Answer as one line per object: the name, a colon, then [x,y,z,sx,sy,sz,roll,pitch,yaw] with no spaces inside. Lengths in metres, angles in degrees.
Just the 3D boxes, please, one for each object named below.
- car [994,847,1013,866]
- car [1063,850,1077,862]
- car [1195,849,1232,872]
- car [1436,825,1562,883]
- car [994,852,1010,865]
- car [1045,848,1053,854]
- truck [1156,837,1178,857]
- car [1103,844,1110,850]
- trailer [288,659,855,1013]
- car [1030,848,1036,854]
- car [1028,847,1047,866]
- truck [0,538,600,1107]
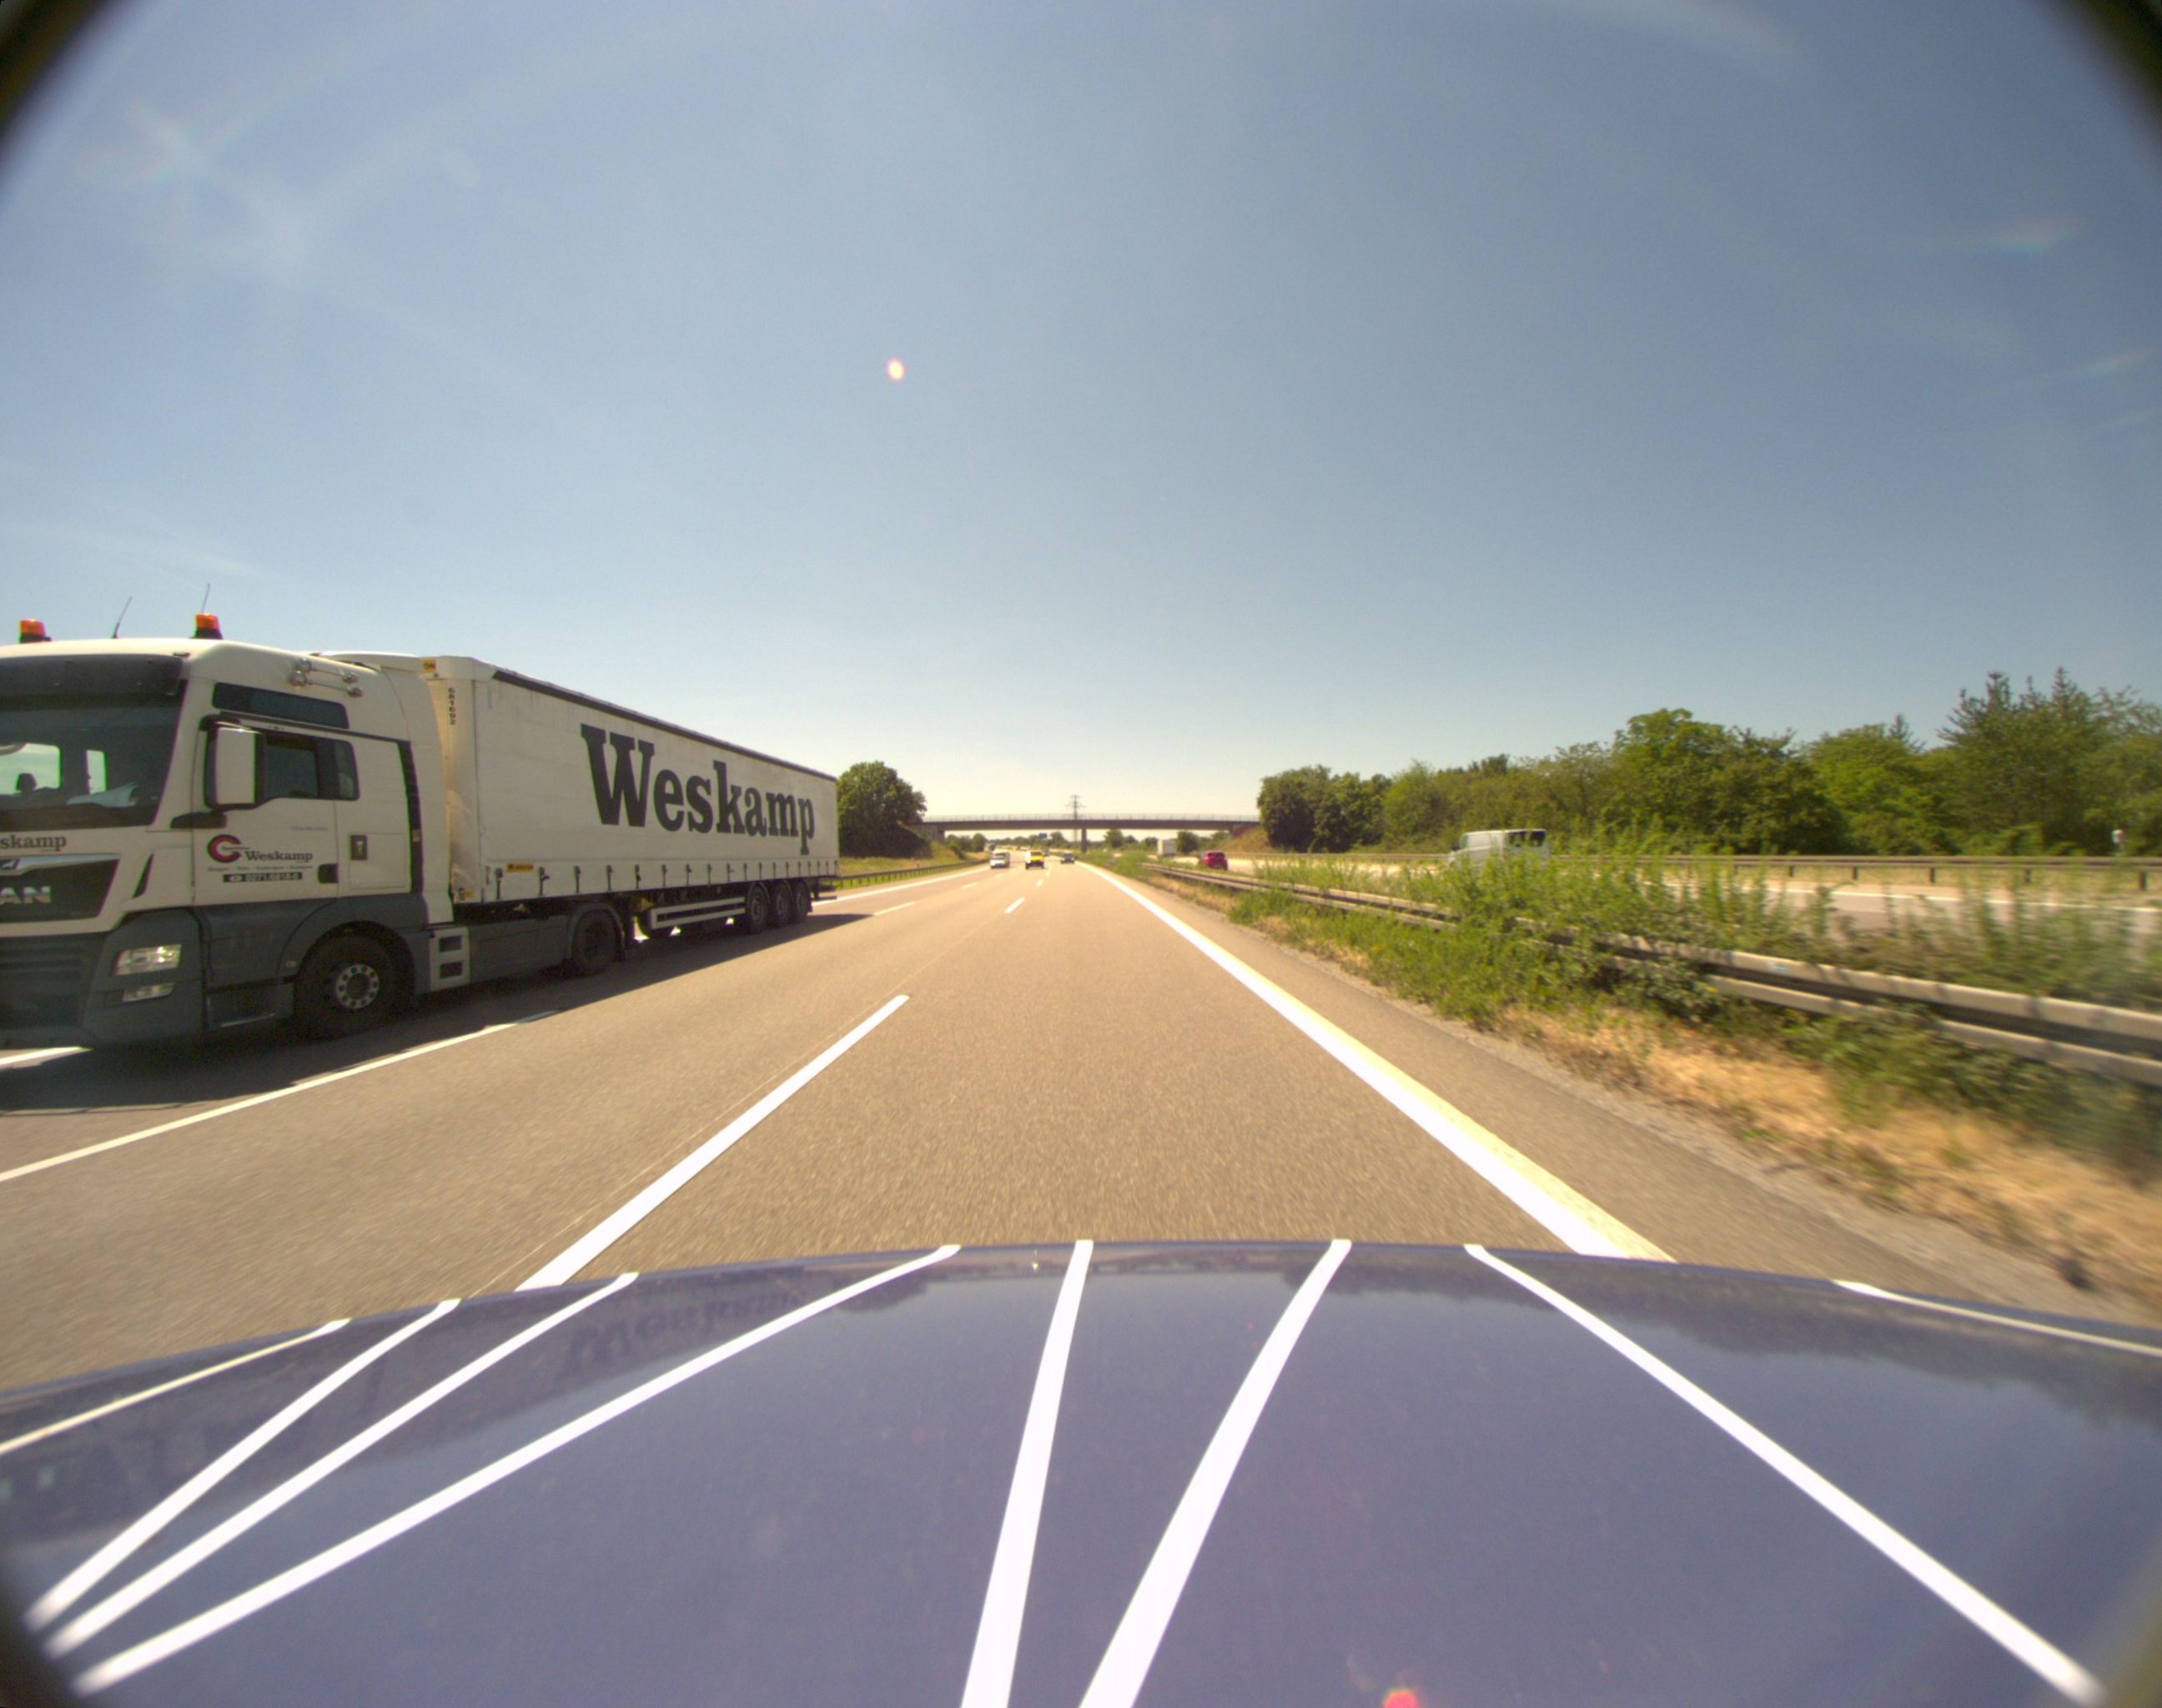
car: [-9.651,0.236,95.170,2.189,2.253,4.948,-1,1,-5]
car: [-1.516,0.248,104.061,1.726,1.478,3.999,-2,0,-1]
car: [9.195,0.420,53.121,1.698,1.483,4.137,-1,1,-2]
car: [16.519,-0.017,30.413,2.063,2.059,5.408,-1,1,0]
car: [-9.221,0.488,88.548,1.785,1.467,3.998,-1,1,-5]
car: [-8.598,-0.778,202.679,1.999,1.707,3.998,-1,1,-5]
truck: [14.105,-1.178,124.541,2.458,3.081,6.988,-2,1,-2]
car: [7.398,-1.957,217.529,1.715,1.565,4.402,-1,1,-1]
trailer: [-8.227,-0.285,16.080,2.602,4.227,13.638,-2,1,0]
car: [-12.857,-0.760,204.334,1.649,1.557,3.598,-1,1,-5]
car: [-4.523,0.265,78.370,1.777,1.882,3.830,-1,1,-5]
truck: [-8.264,-0.219,8.268,2.607,4.231,5.088,-2,1,0]
